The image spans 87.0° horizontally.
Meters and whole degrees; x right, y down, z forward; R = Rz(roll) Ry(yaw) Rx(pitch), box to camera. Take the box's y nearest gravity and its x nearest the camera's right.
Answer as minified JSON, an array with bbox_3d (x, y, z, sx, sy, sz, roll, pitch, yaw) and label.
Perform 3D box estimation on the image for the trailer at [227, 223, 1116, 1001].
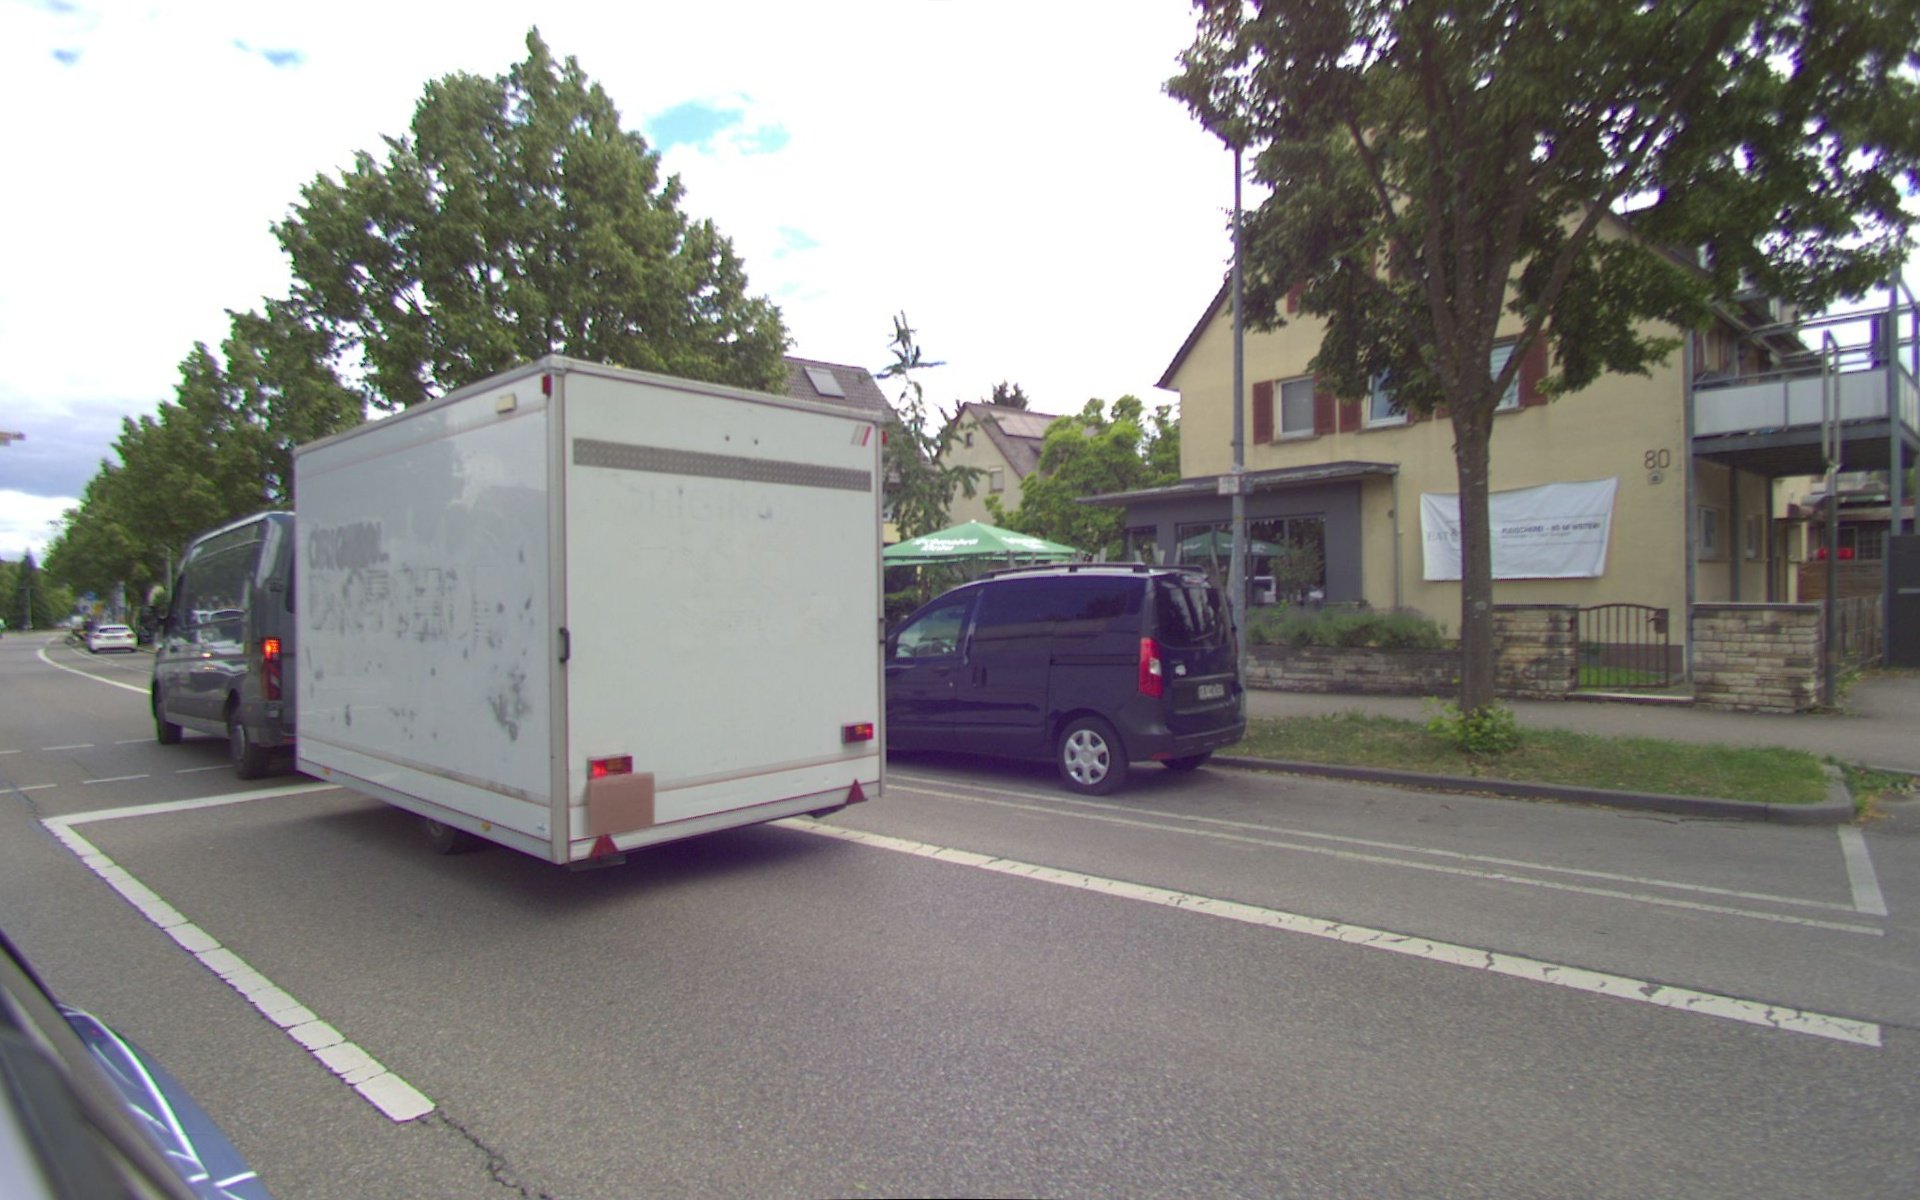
[{"bbox_3d":[-2.569,0.113,7.025,6.867,2.900,2.607,-2,-1,41],"label":"trailer"}]

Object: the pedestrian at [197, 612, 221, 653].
[{"bbox_3d":[-38.230,1.660,51.533,0.998,2.029,0.814,-2,-1,43],"label":"pedestrian"}]

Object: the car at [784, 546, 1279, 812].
[{"bbox_3d":[0.456,0.598,9.291,4.396,1.888,1.689,-2,-1,41],"label":"car"}]

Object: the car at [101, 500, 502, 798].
[{"bbox_3d":[-7.613,0.465,11.309,6.309,2.499,2.038,-2,-1,40],"label":"car"}]

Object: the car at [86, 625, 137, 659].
[{"bbox_3d":[-42.754,2.103,51.059,1.862,1.586,4.008,-1,-1,-38],"label":"car"}]
